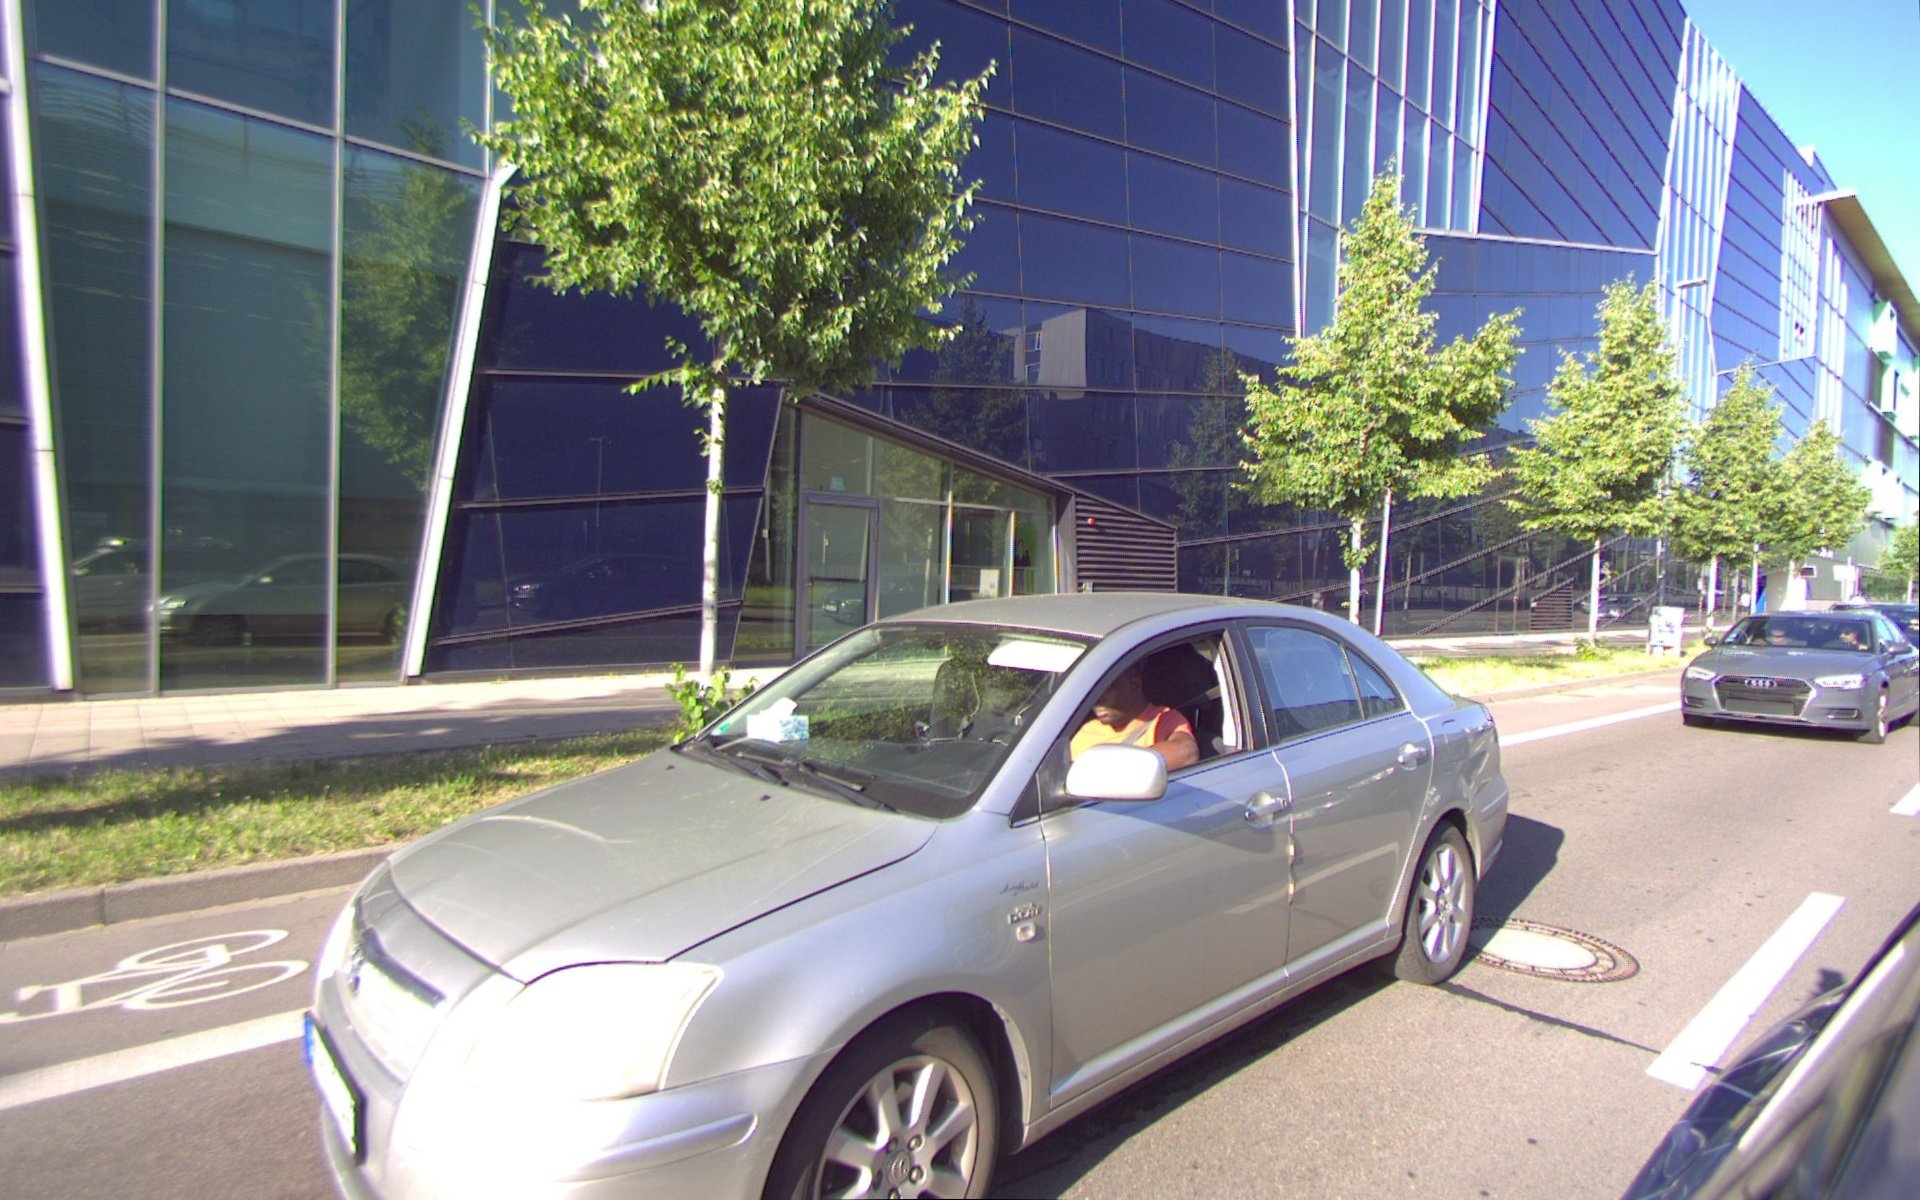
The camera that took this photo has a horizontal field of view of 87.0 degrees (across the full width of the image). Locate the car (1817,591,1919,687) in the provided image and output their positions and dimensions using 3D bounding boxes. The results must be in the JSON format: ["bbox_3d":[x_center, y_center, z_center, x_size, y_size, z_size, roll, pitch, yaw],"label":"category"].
[{"bbox_3d":[16.313,0.621,17.471,3.902,1.497,1.752,0,1,-41],"label":"car"}]

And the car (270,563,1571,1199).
[{"bbox_3d":[0.391,0.668,3.606,4.548,1.499,1.749,0,2,-41],"label":"car"}]

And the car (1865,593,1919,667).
[{"bbox_3d":[20.850,0.615,21.694,3.358,1.497,1.752,0,1,-41],"label":"car"}]

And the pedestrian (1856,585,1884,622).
[{"bbox_3d":[47.997,0.190,53.369,0.889,1.846,0.829,1,5,-41],"label":"pedestrian"}]

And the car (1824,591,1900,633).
[{"bbox_3d":[37.324,0.473,41.844,4.633,1.516,1.739,0,4,-41],"label":"car"}]

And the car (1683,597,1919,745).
[{"bbox_3d":[10.320,0.698,12.035,4.187,1.409,1.750,0,1,-39],"label":"car"}]
